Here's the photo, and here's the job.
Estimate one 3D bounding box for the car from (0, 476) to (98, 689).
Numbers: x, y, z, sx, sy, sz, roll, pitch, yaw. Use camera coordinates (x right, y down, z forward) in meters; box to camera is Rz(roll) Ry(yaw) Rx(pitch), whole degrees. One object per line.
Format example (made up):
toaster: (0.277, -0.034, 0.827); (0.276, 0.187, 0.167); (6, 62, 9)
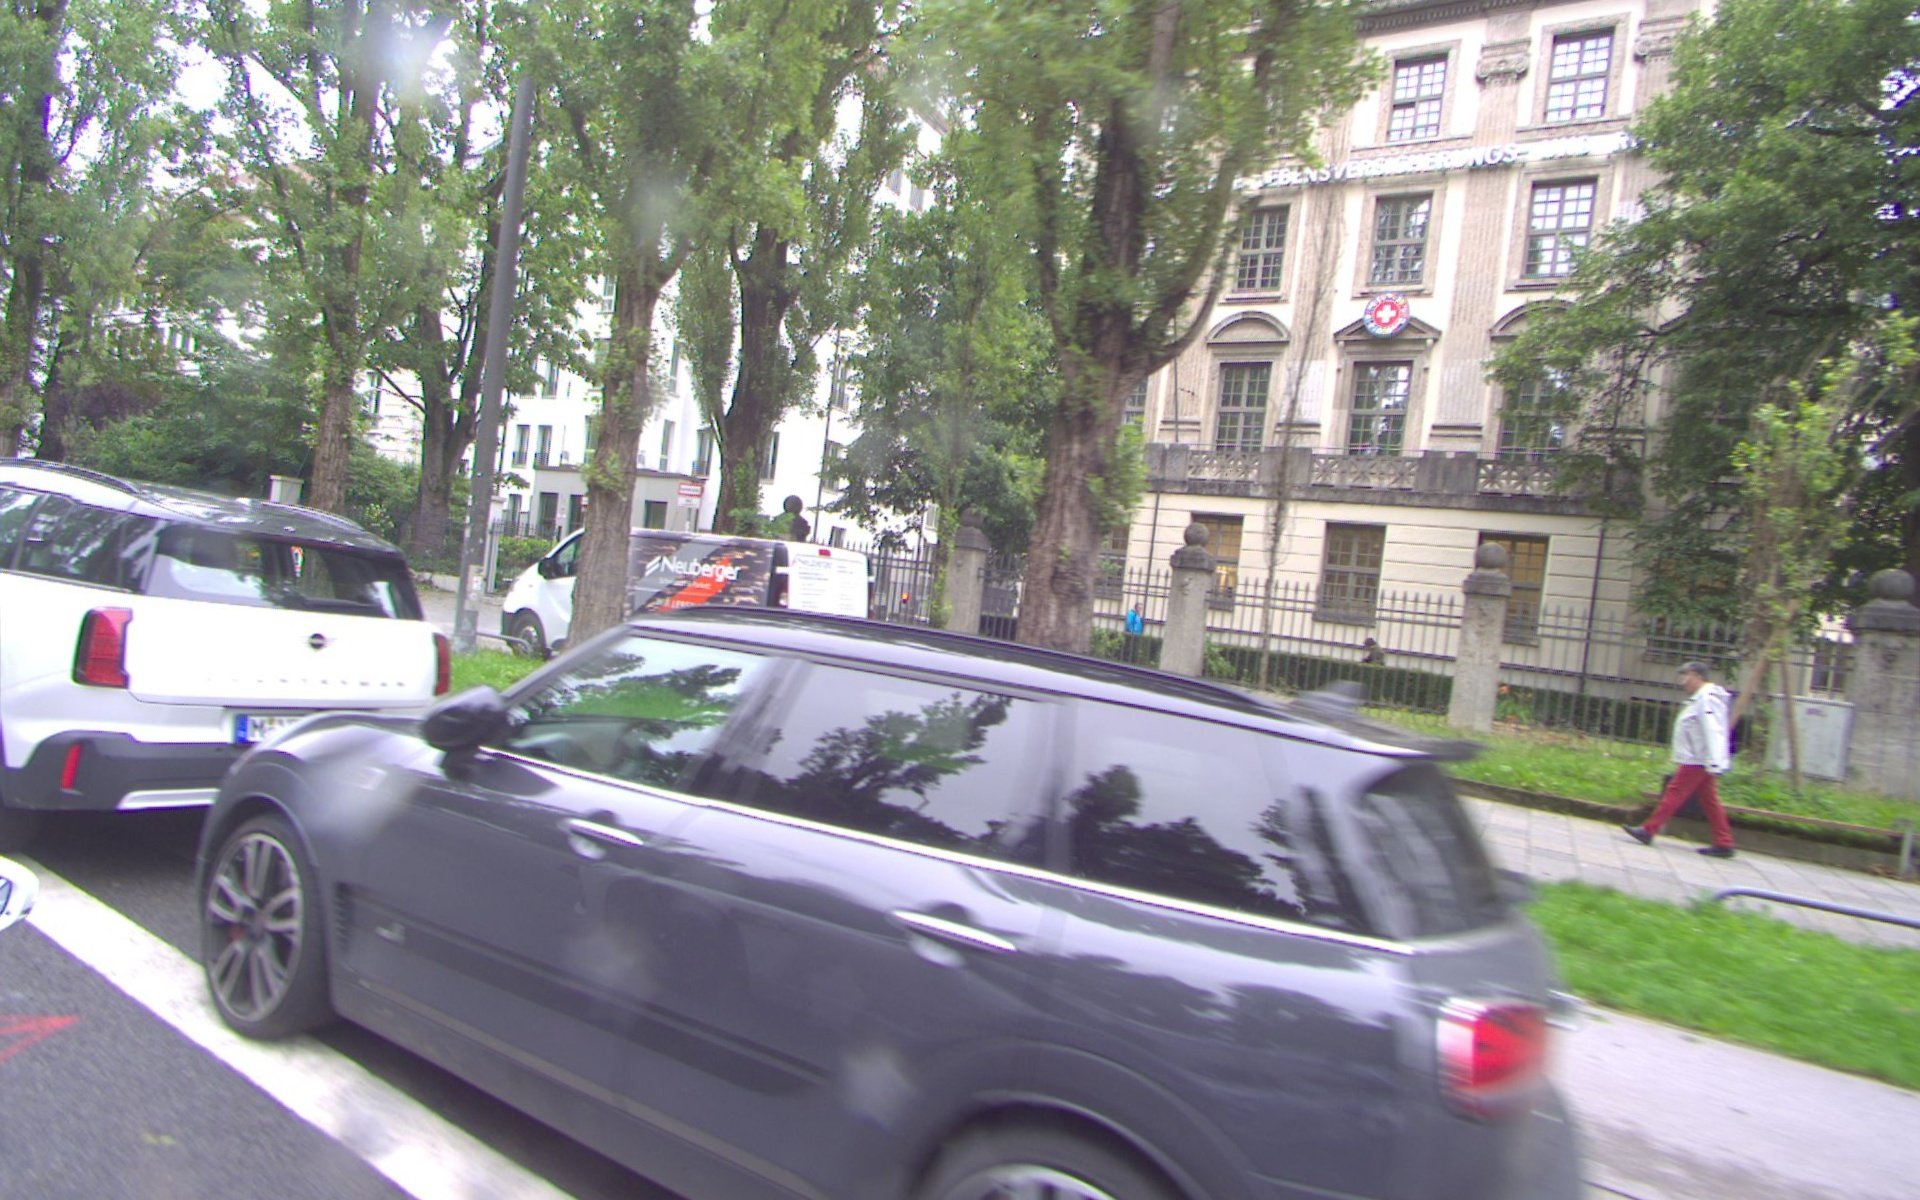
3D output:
car: (-9.087, -0.390, 8.133); (4.389, 1.560, 1.882); (7, 0, 31)

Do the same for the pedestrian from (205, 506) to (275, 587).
pedestrian: (-17.630, -1.299, 24.662); (0.814, 1.823, 0.904); (9, 2, 10)

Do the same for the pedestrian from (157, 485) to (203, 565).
pedestrian: (-19.444, -1.860, 25.068); (0.626, 1.886, 0.488); (7, 1, 14)

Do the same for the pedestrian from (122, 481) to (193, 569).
pedestrian: (-17.224, -1.604, 21.592); (0.853, 1.739, 0.854); (7, 2, 30)

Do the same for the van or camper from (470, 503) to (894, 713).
van or camper: (-3.702, 0.044, 13.020); (5.279, 1.957, 2.080); (7, -1, 31)

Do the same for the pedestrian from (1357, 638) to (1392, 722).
pedestrian: (9.769, 1.872, 23.695); (0.495, 1.886, 0.637); (7, 1, 28)

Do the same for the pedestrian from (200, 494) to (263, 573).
pedestrian: (-18.072, -1.630, 24.968); (0.805, 1.804, 0.802); (7, 1, 14)

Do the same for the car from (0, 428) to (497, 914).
car: (-4.747, 0.071, 5.409); (4.503, 1.696, 1.745); (7, 0, 31)

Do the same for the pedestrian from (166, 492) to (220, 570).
pedestrian: (-17.017, -1.528, 22.324); (0.853, 1.599, 0.568); (7, 1, 31)

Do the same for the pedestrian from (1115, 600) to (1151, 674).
pedestrian: (4.577, 0.973, 26.618); (0.592, 1.886, 0.638); (7, 1, 22)

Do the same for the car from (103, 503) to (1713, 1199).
car: (-0.573, 0.731, 3.027); (4.223, 1.538, 1.705); (7, 0, 31)

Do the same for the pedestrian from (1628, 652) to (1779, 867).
pedestrian: (6.896, 1.439, 9.390); (0.880, 1.790, 0.796); (7, 1, 32)

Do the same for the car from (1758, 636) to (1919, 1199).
car: (3.520, 1.111, 0.515); (4.560, 1.638, 1.786); (7, 0, 31)
